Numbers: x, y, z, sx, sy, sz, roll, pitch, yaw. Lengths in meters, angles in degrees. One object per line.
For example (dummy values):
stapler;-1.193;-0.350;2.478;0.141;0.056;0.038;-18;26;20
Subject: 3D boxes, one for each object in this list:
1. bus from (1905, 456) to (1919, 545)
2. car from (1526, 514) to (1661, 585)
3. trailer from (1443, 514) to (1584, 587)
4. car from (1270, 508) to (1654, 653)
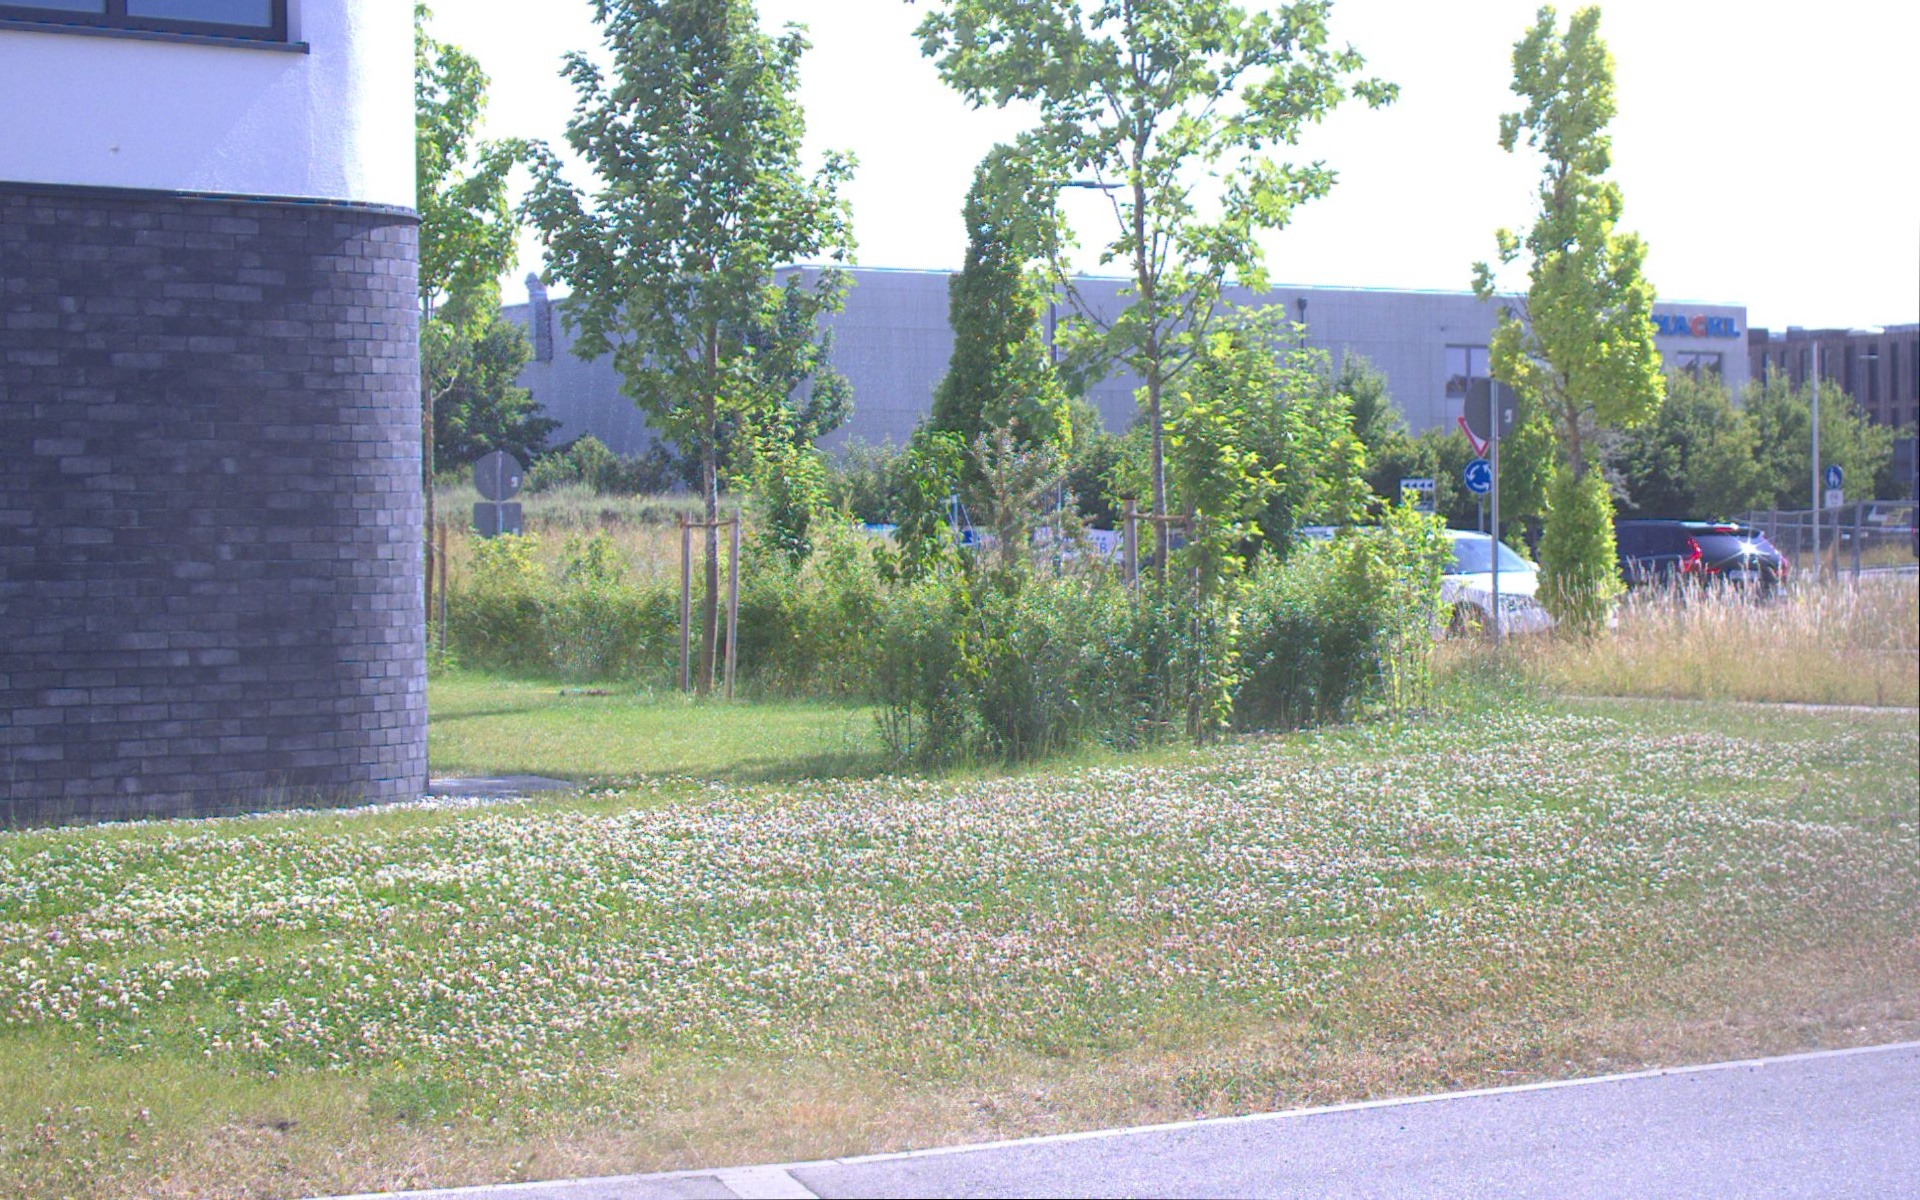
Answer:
bus;34.616;-3.204;109.061;11.534;2.725;2.580;-2;2;-38
car;17.055;-1.376;92.471;1.826;1.853;3.991;1;2;40
trailer;14.424;-1.314;89.489;1.826;1.853;3.991;1;2;40
car;5.601;-0.267;38.905;1.736;1.546;4.570;-1;2;-32
